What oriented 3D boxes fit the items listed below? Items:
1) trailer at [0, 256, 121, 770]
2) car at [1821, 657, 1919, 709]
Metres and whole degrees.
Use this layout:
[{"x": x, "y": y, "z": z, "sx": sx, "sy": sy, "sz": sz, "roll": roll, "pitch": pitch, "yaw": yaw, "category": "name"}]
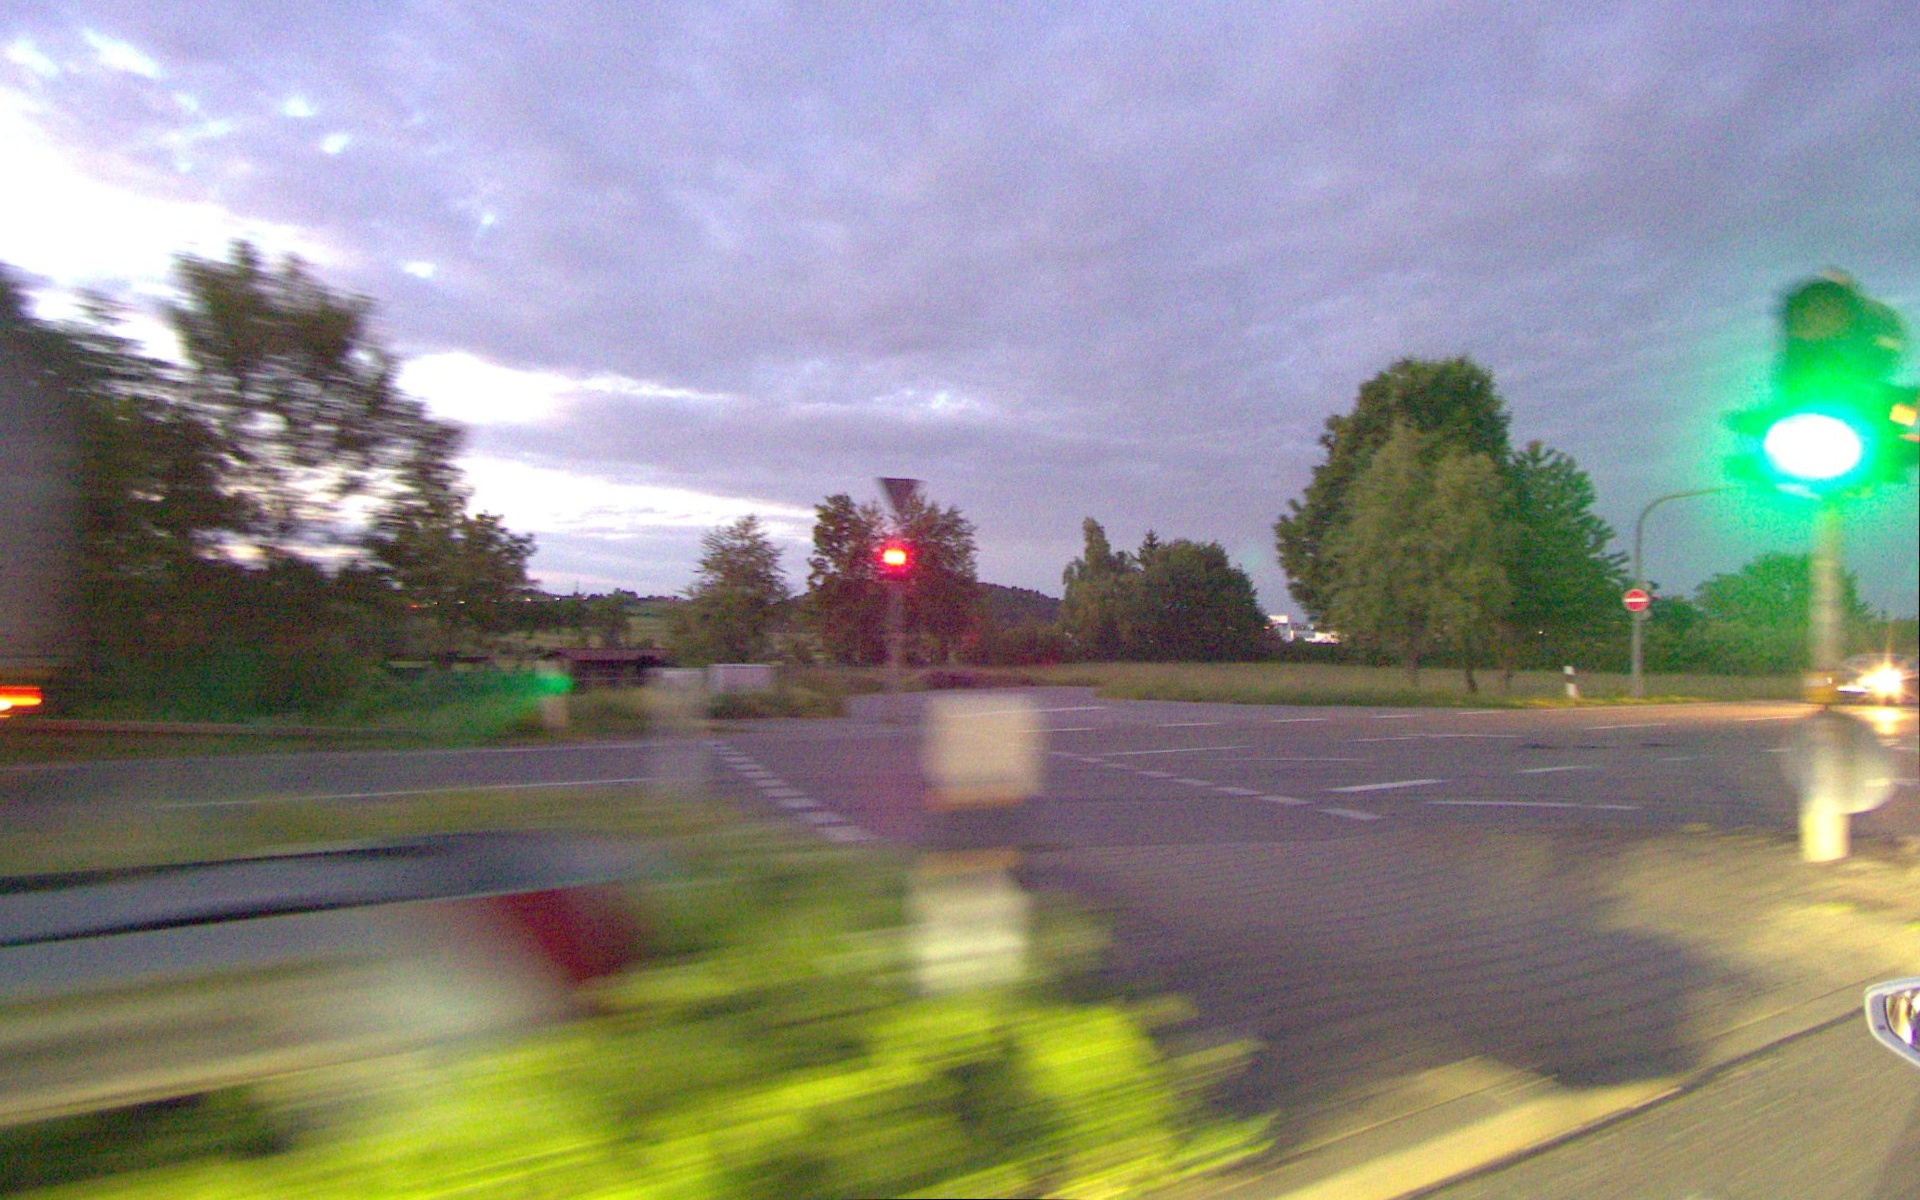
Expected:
[{"x": -11.851, "y": -0.790, "z": 6.945, "sx": 8.764, "sy": 3.994, "sz": 2.568, "roll": 2, "pitch": -2, "yaw": -27, "category": "trailer"}, {"x": 27.337, "y": 2.440, "z": 29.707, "sx": 3.984, "sy": 1.402, "sz": 1.644, "roll": 3, "pitch": -3, "yaw": -31, "category": "car"}]
